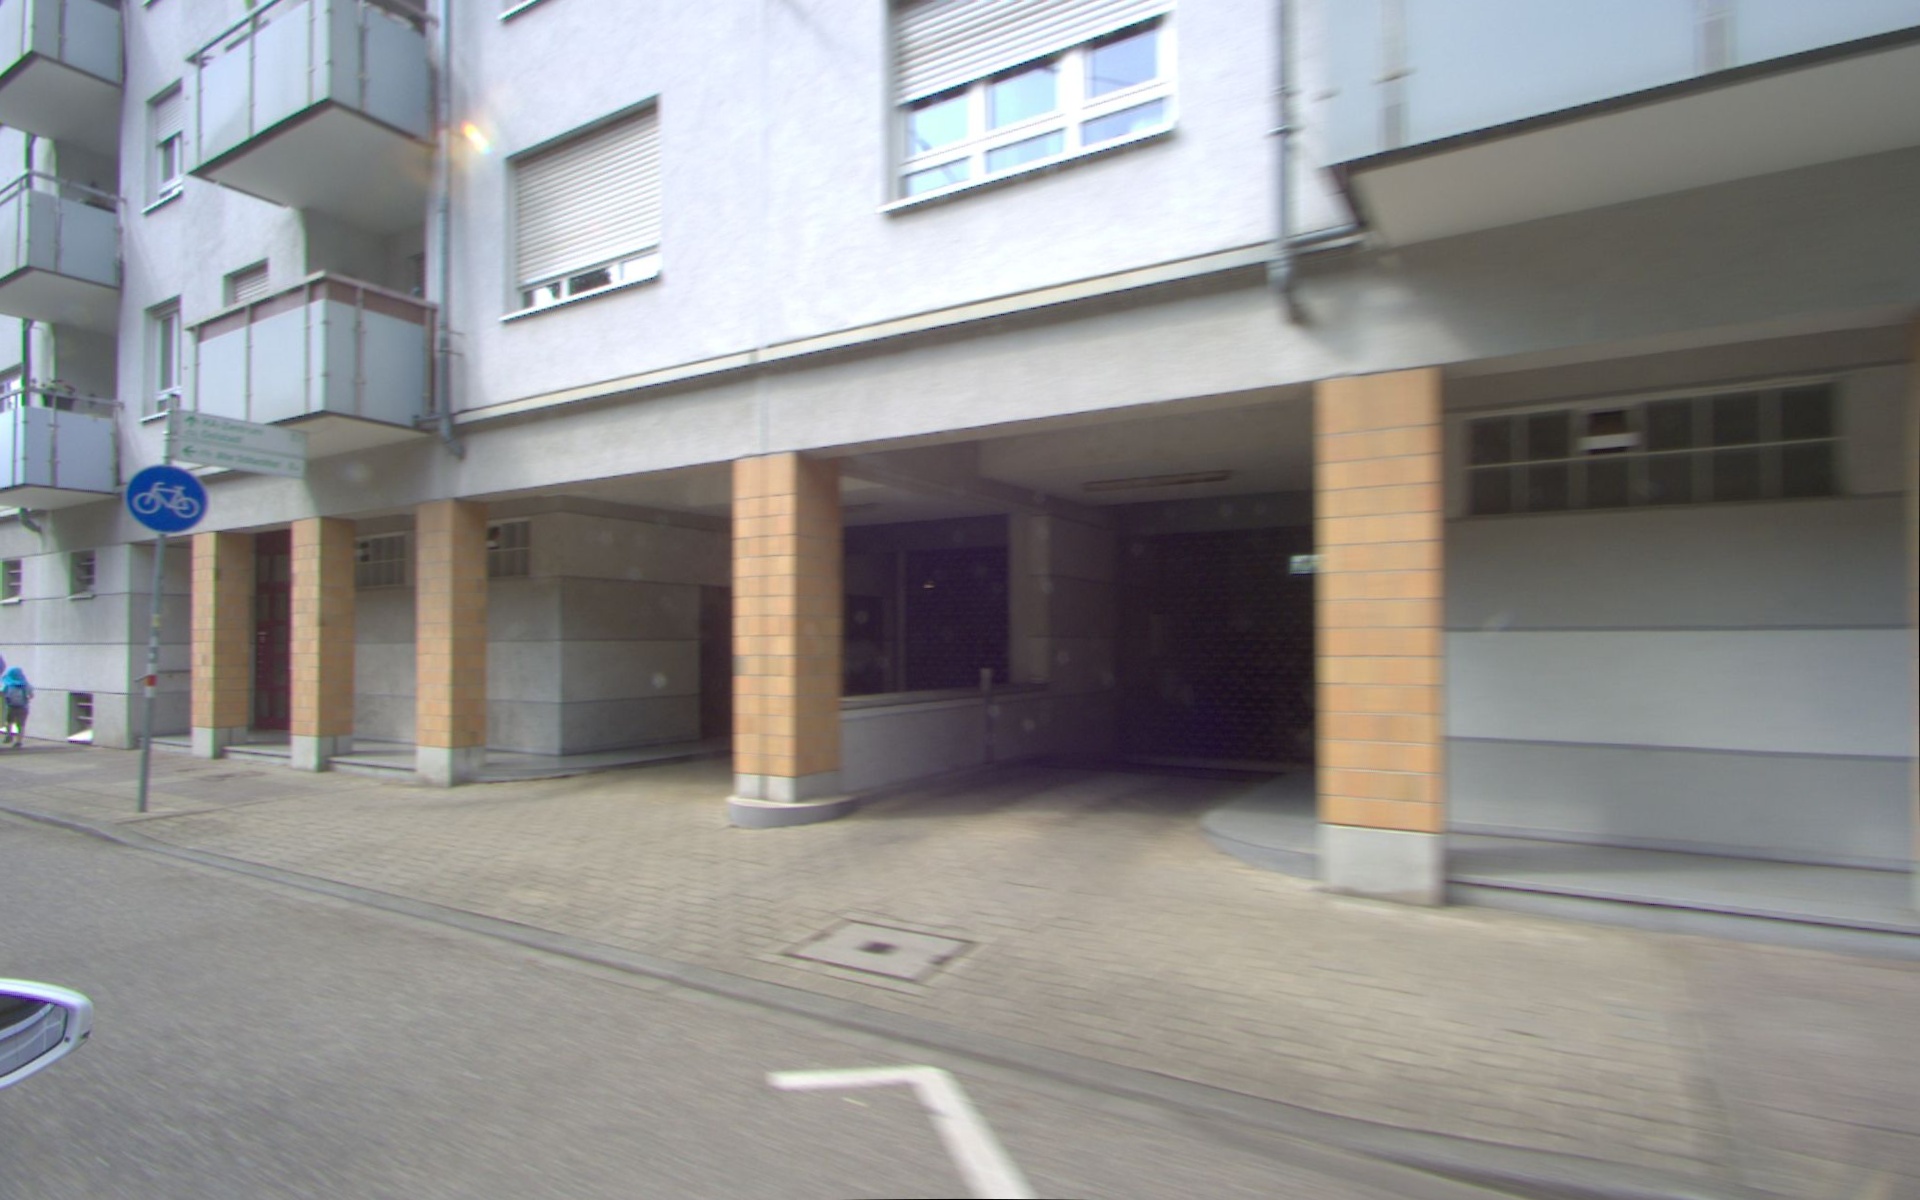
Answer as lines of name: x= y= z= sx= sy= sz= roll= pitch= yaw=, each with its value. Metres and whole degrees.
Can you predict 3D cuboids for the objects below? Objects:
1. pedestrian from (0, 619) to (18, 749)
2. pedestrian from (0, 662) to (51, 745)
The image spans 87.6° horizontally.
pedestrian: x=-13.527 y=1.156 z=13.771 sx=0.865 sy=1.761 sz=0.619 roll=-1 pitch=0 yaw=33
pedestrian: x=-13.492 y=1.475 z=14.430 sx=0.487 sy=1.149 sz=0.455 roll=-1 pitch=-1 yaw=33
